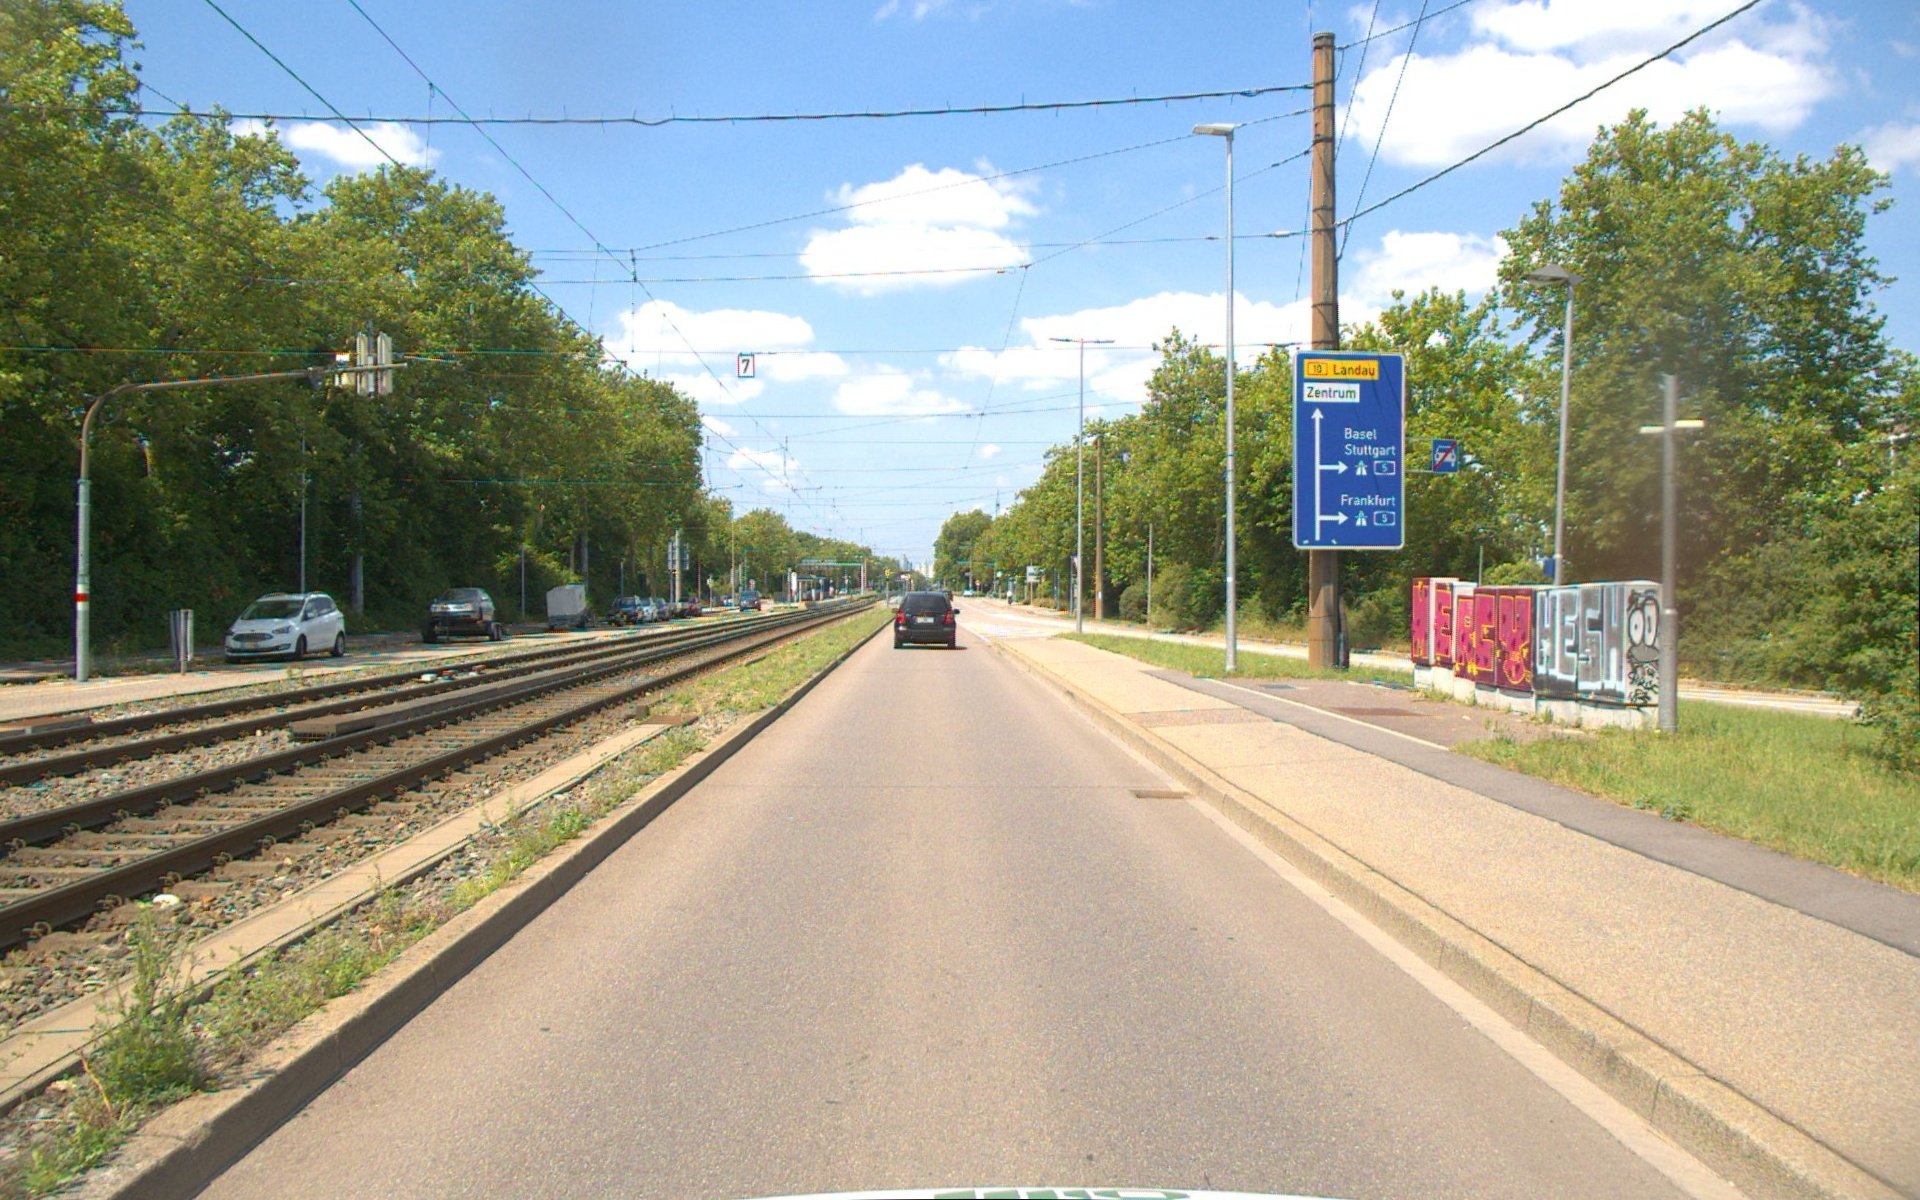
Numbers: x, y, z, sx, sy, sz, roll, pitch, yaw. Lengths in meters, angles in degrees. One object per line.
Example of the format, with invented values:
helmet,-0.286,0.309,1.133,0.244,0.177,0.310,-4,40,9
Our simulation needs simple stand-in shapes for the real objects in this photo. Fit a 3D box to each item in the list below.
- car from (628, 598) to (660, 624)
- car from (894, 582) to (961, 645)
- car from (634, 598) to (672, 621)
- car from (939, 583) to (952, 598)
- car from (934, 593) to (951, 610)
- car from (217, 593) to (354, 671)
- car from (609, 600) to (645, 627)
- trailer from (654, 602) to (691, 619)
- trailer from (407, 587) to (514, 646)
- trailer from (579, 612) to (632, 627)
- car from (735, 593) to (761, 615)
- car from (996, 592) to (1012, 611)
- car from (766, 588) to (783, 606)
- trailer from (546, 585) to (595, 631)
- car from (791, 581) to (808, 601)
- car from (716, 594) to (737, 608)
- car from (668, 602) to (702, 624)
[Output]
car,-18.924,0.639,99.175,1.405,1.477,3.739,1,0,-3
car,-0.909,0.349,47.376,1.815,1.597,4.388,1,2,-1
car,-19.413,0.593,104.713,1.833,1.425,4.415,1,0,-3
car,-2.152,-1.364,242.421,1.750,2.048,4.000,1,1,-1
car,-1.922,0.169,182.183,1.846,1.668,4.000,4,1,-1
car,-16.994,0.756,41.915,1.685,1.659,4.615,-3,2,-2
car,-18.760,0.764,93.215,1.405,1.477,3.919,1,0,-3
trailer,-19.766,0.719,113.870,1.855,1.062,5.101,1,0,-3
trailer,-17.304,0.541,57.623,2.414,1.922,5.955,1,0,-6
trailer,-18.146,0.989,84.820,1.953,0.755,3.998,0,-1,-2
car,-19.832,0.347,154.822,1.953,2.049,3.999,-1,0,-1
car,4.997,0.197,186.436,1.580,2.048,3.438,1,1,-2
car,-22.319,-0.325,198.959,1.955,2.048,3.996,1,1,-6
trailer,-18.357,0.359,78.044,1.578,2.049,3.913,1,1,-4
car,-17.277,-1.003,178.191,1.554,2.048,4.108,1,1,-3
car,-28.077,0.088,199.046,1.953,1.601,3.999,0,0,-1
car,-20.369,0.957,122.791,1.953,1.601,3.998,0,0,-2
